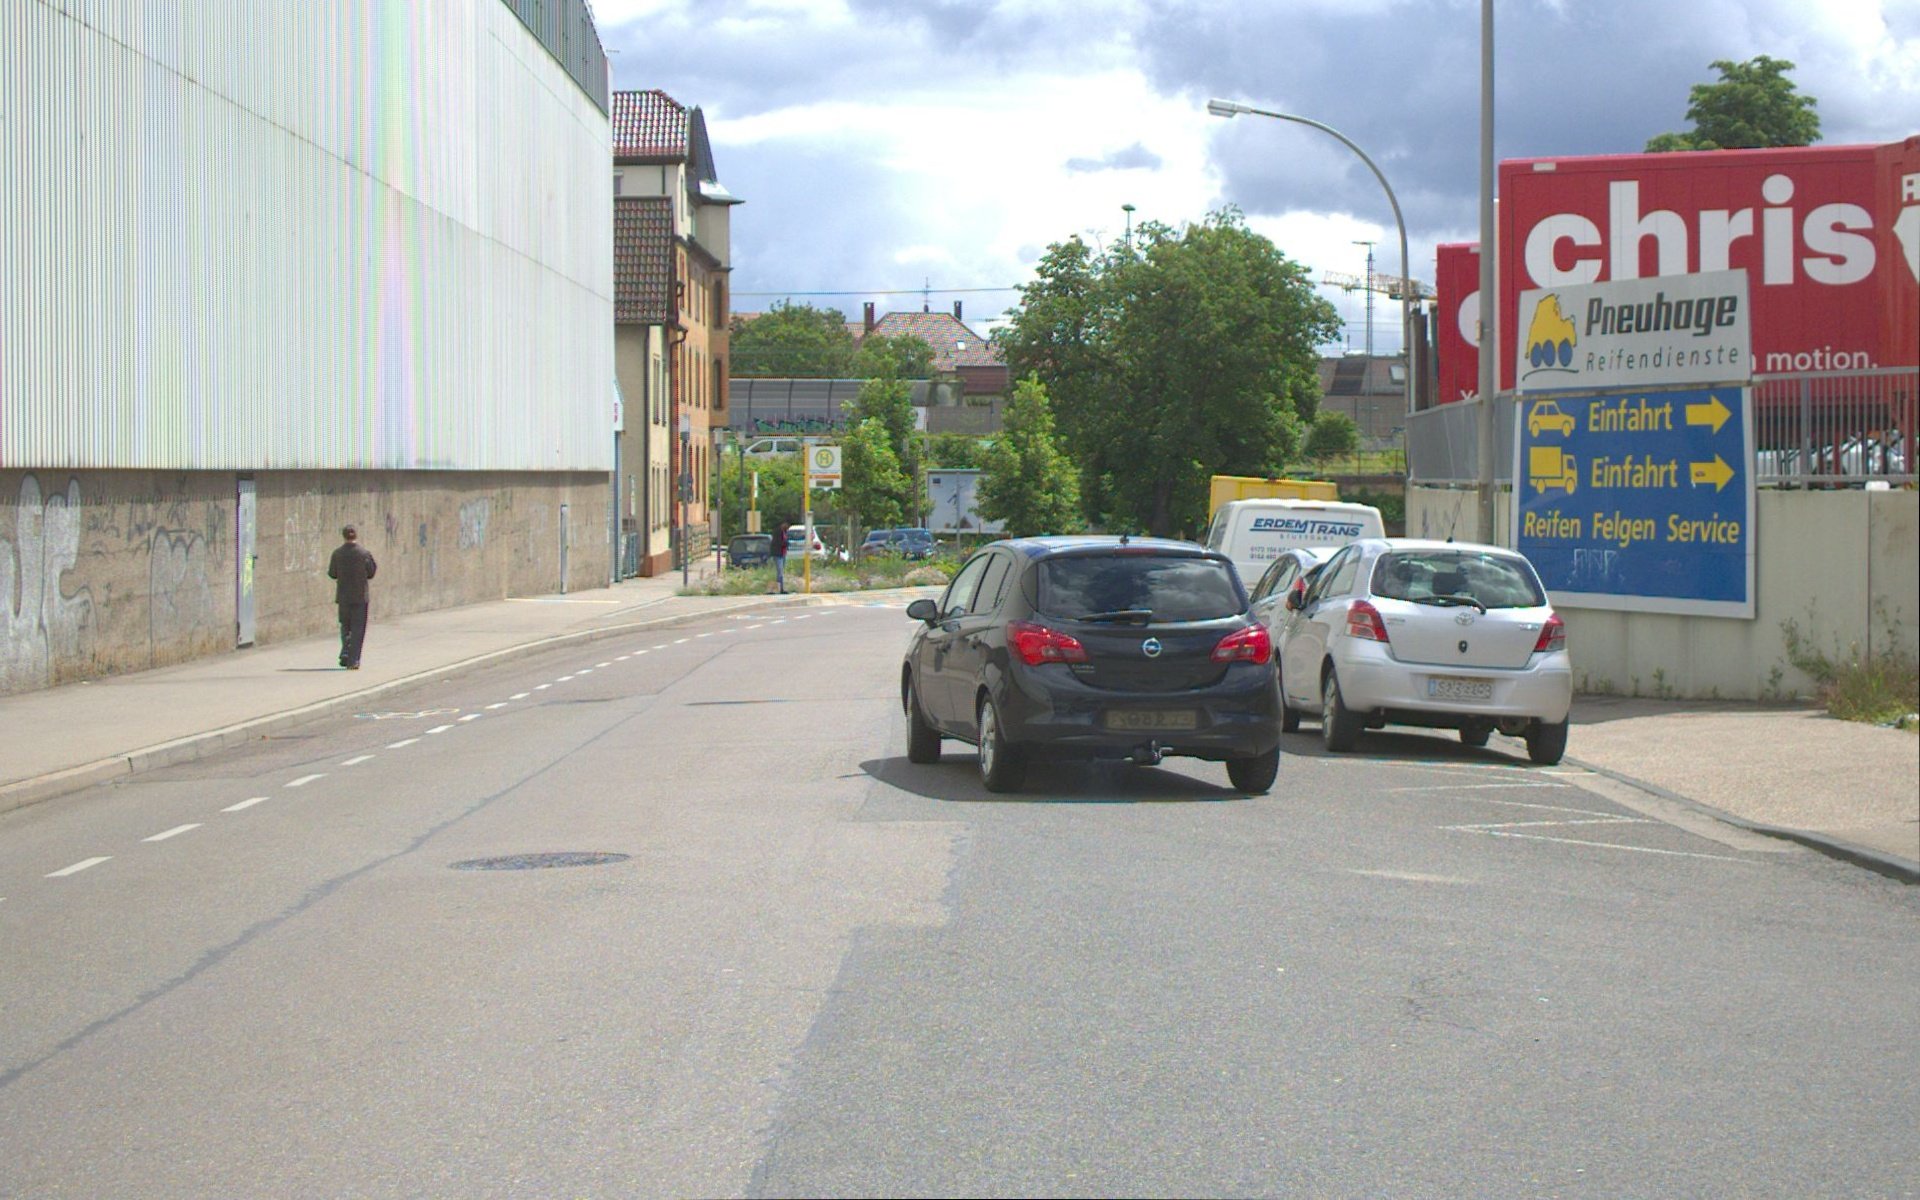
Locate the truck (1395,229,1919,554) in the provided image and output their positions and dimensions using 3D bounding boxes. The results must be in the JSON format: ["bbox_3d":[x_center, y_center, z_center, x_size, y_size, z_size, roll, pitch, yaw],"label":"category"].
[{"bbox_3d":[10.933,-3.072,52.130,8.454,4.655,2.581,0,-1,11],"label":"truck"}]

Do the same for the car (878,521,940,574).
[{"bbox_3d":[-1.528,-1.578,103.522,1.852,1.481,4.000,0,-1,-1],"label":"car"}]

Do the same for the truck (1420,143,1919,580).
[{"bbox_3d":[9.656,-2.606,38.918,8.459,4.655,2.579,0,-1,21],"label":"truck"}]

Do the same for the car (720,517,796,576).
[{"bbox_3d":[-5.381,-1.415,91.962,1.852,1.481,4.000,0,-1,-1],"label":"car"}]

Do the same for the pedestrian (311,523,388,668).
[{"bbox_3d":[-6.935,-0.041,39.067,0.713,1.632,0.777,0,-1,2],"label":"pedestrian"}]

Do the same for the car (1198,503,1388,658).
[{"bbox_3d":[3.428,-0.219,35.903,1.701,1.522,3.738,0,1,1],"label":"car"}]

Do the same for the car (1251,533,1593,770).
[{"bbox_3d":[3.289,0.314,25.146,1.701,1.522,3.738,3,1,-4],"label":"car"}]

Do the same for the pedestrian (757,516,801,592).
[{"bbox_3d":[-3.970,-1.000,75.364,0.853,1.657,0.860,0,-1,5],"label":"pedestrian"}]

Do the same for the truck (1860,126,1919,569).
[{"bbox_3d":[11.456,-2.589,32.246,2.573,4.434,7.864,0,-1,-12],"label":"truck"}]

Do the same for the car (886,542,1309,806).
[{"bbox_3d":[0.728,0.378,20.843,1.700,1.442,3.795,0,1,-11],"label":"car"}]
